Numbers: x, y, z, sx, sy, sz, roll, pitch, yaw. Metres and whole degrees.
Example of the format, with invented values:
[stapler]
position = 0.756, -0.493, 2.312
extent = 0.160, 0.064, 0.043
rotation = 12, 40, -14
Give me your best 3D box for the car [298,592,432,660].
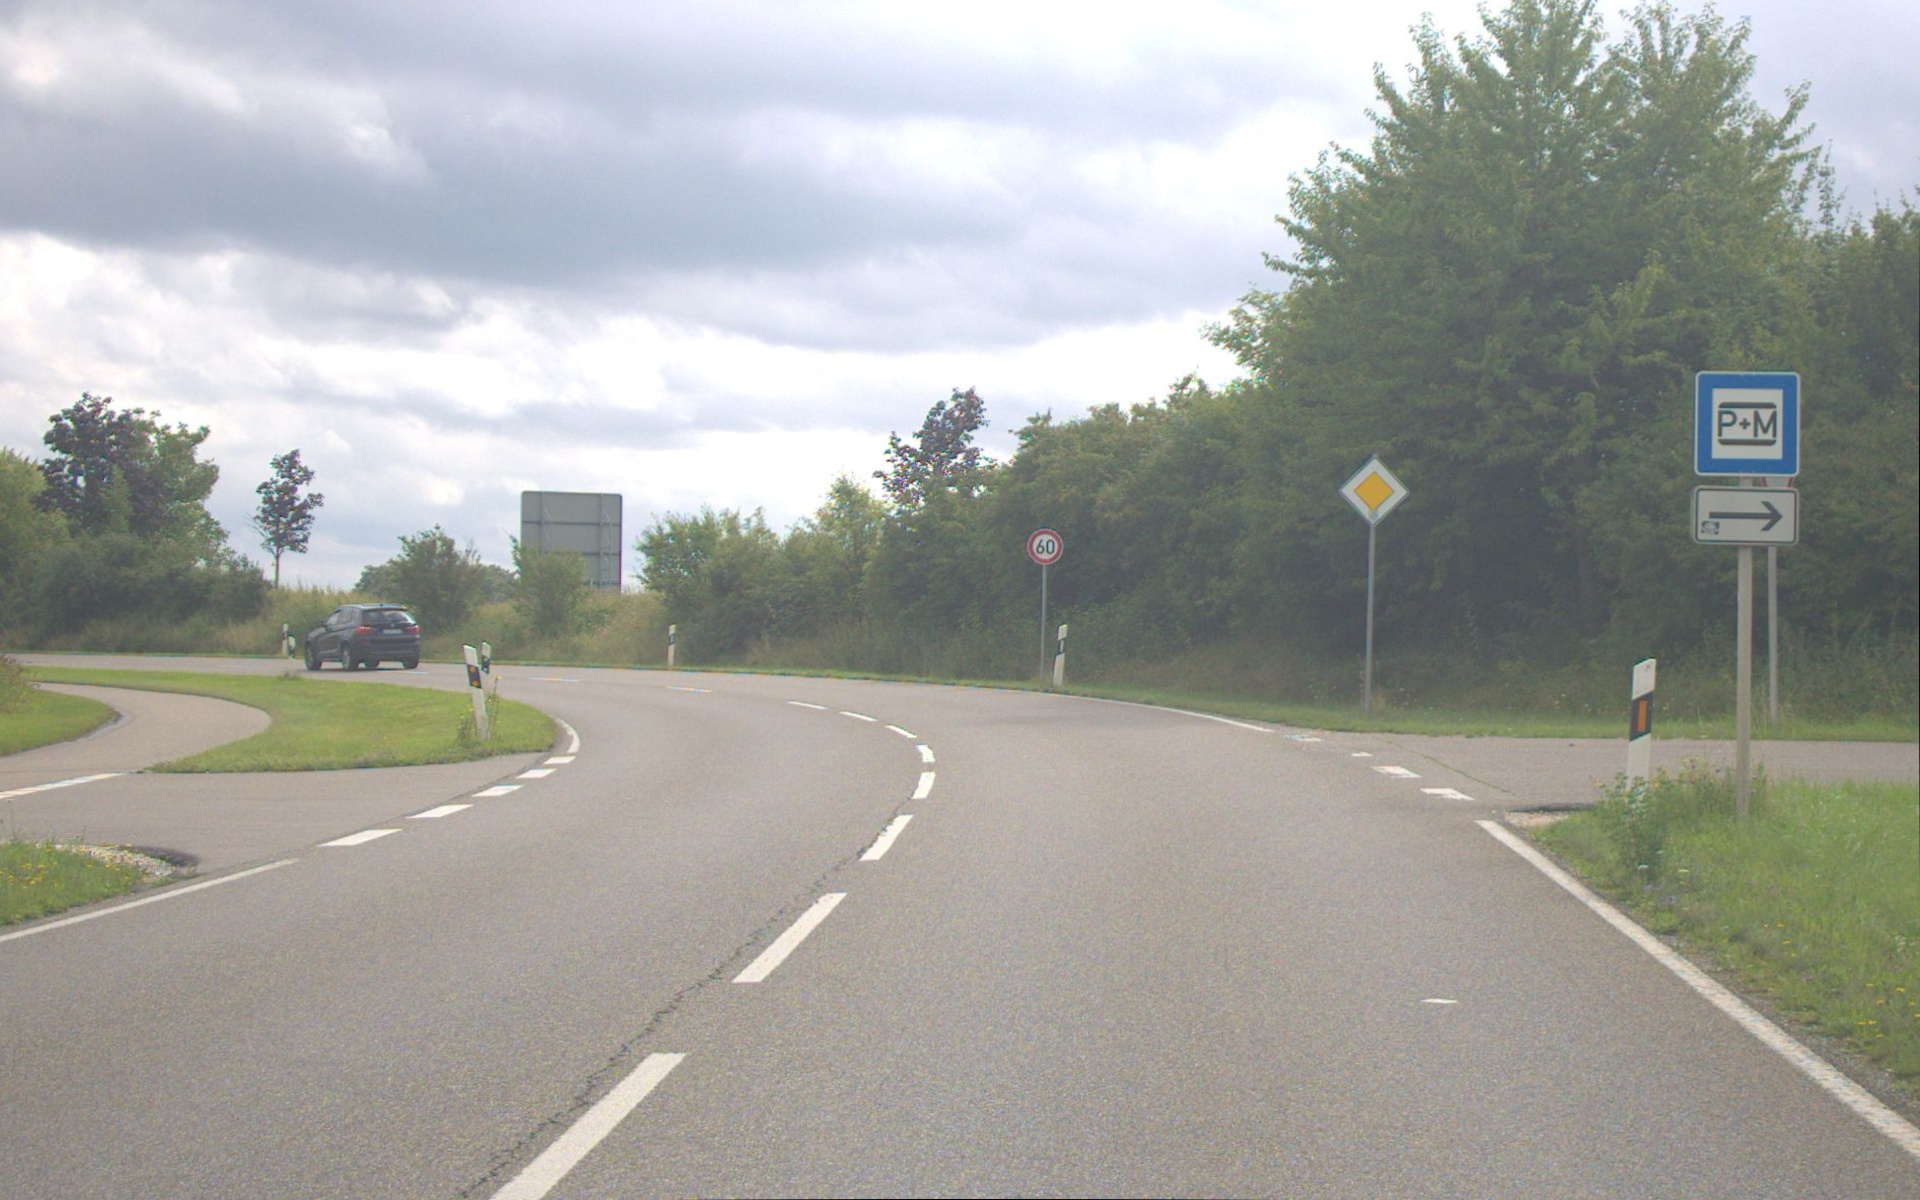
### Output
[car]
position = -15.258, 0.649, 88.009
extent = 1.906, 1.661, 4.000
rotation = 0, 0, -34
